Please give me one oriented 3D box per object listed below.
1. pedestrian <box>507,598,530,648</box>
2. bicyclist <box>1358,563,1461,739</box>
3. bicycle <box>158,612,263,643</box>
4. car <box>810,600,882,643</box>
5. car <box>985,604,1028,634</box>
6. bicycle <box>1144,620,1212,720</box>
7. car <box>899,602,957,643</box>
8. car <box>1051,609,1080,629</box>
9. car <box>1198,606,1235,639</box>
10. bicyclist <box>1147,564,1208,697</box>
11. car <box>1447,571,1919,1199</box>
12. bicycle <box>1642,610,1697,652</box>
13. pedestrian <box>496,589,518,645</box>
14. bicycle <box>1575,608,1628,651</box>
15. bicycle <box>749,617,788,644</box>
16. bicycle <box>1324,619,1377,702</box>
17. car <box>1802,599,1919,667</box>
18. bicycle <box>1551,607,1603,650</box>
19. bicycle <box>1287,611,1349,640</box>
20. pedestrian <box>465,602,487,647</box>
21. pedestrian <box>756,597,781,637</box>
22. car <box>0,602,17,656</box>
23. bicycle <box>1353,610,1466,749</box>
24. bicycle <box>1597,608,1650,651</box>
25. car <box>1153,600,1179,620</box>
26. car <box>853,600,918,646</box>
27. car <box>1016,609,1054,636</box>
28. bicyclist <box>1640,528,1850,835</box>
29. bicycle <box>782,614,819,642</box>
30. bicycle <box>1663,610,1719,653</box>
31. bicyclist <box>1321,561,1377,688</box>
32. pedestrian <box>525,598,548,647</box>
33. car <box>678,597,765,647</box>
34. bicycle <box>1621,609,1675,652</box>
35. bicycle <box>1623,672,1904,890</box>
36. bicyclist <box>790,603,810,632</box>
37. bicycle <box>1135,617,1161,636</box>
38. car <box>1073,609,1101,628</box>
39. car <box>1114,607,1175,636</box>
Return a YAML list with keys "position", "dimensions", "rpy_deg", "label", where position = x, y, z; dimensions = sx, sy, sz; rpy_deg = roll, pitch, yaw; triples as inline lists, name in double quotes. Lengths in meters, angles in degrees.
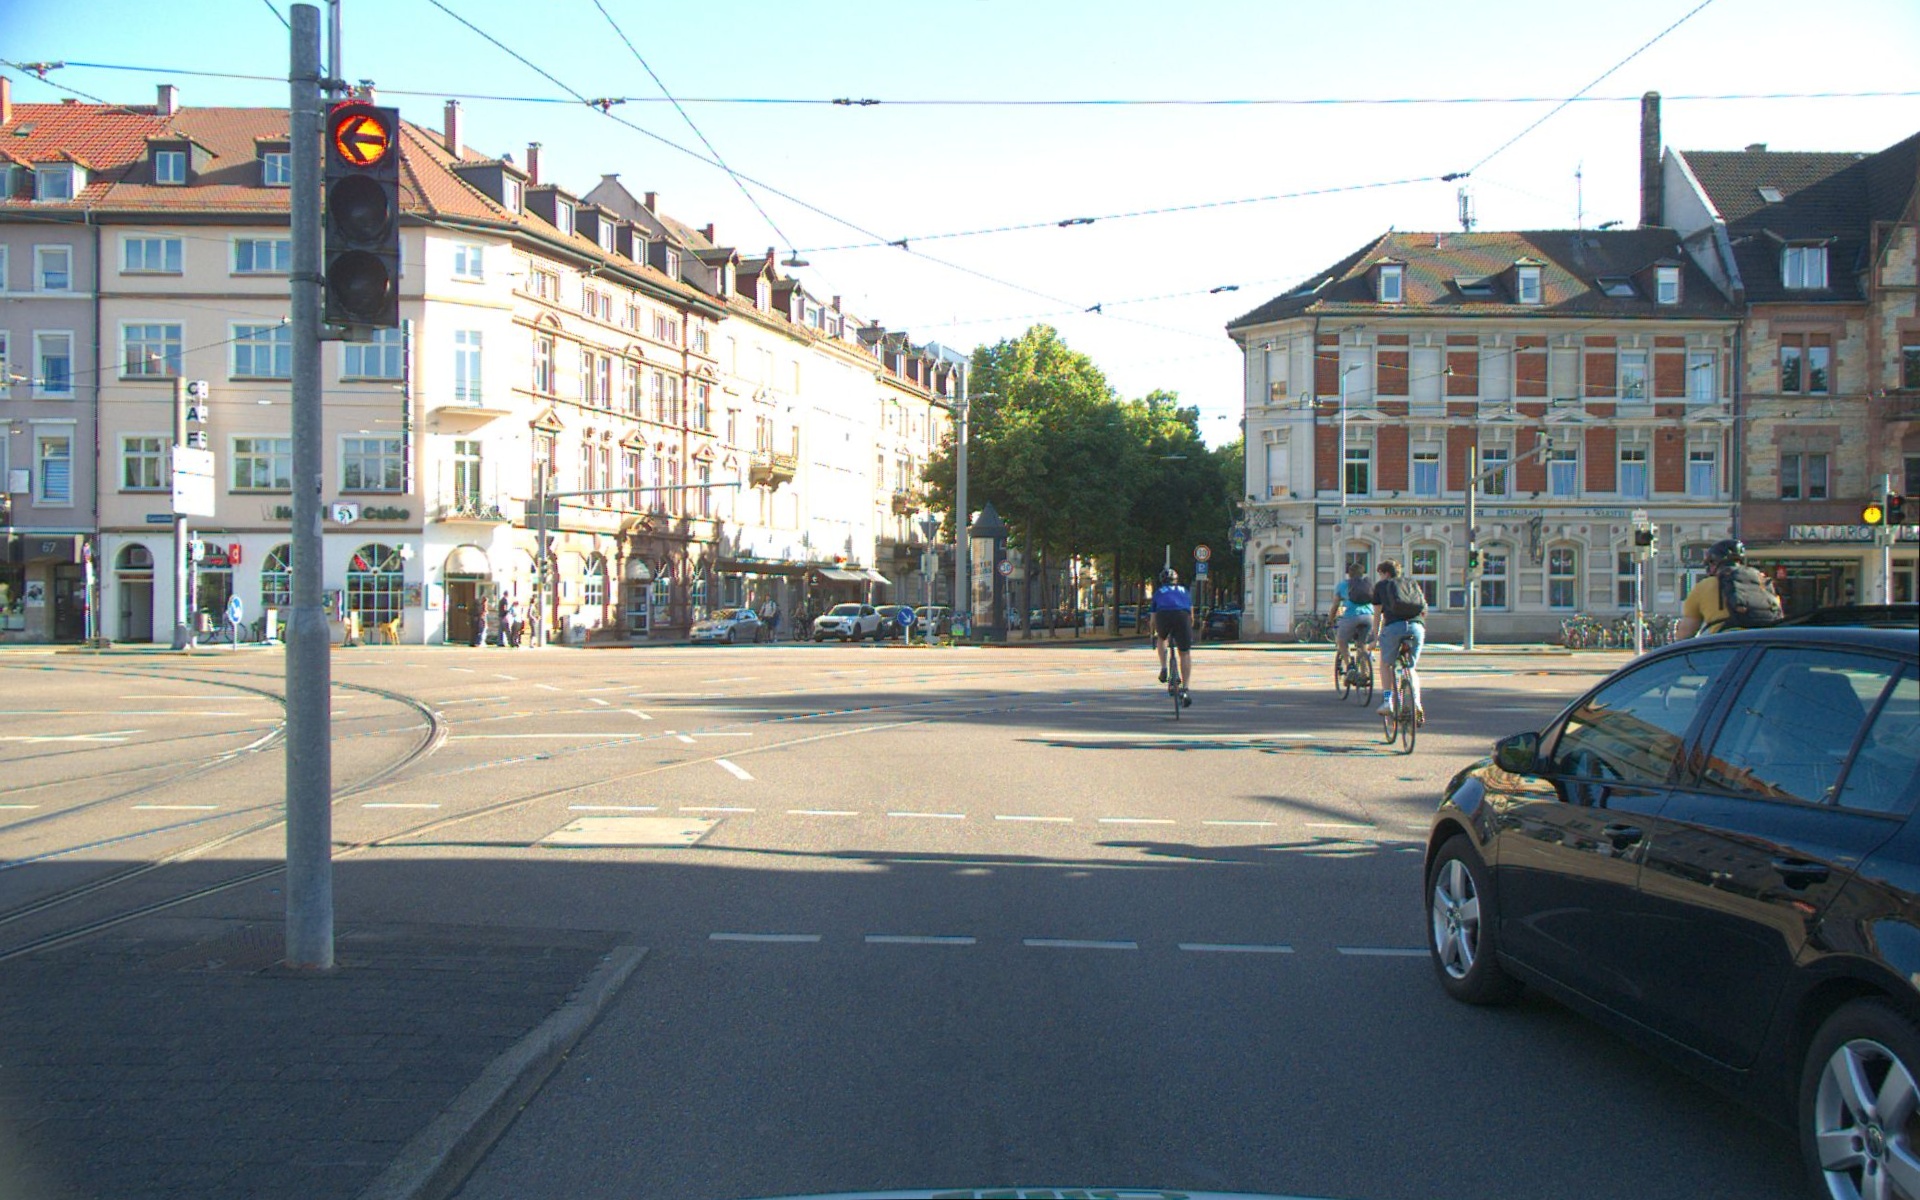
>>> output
- position: [-14.861, 0.769, 55.673]
  dimensions: [0.620, 1.662, 0.700]
  rpy_deg: [1, -1, -4]
  label: "pedestrian"
- position: [4.323, 0.477, 15.961]
  dimensions: [0.789, 1.634, 0.884]
  rpy_deg: [1, -1, 5]
  label: "bicyclist"
- position: [-25.518, 0.943, 56.352]
  dimensions: [3.066, 0.997, 1.001]
  rpy_deg: [1, 0, -1]
  label: "bicycle"
- position: [-4.608, 0.863, 67.300]
  dimensions: [1.951, 1.646, 4.003]
  rpy_deg: [1, 0, 11]
  label: "car"
- position: [3.176, 1.290, 112.739]
  dimensions: [1.951, 1.937, 4.002]
  rpy_deg: [1, 0, 16]
  label: "car"
- position: [2.542, 0.797, 19.394]
  dimensions: [0.613, 1.104, 1.703]
  rpy_deg: [1, 0, 2]
  label: "bicycle"
- position: [-1.516, 1.070, 79.766]
  dimensions: [1.951, 1.937, 4.003]
  rpy_deg: [1, 0, 11]
  label: "car"
- position: [8.421, 1.484, 131.970]
  dimensions: [1.526, 1.540, 3.658]
  rpy_deg: [1, 0, 16]
  label: "car"
- position: [12.866, 1.126, 82.779]
  dimensions: [1.655, 1.592, 3.844]
  rpy_deg: [1, 0, 11]
  label: "car"
- position: [2.547, 0.341, 19.470]
  dimensions: [0.625, 1.520, 0.884]
  rpy_deg: [1, 1, 3]
  label: "bicyclist"
- position: [2.915, 0.722, 4.868]
  dimensions: [1.693, 1.534, 4.050]
  rpy_deg: [1, 2, -1]
  label: "car"
- position: [22.798, 0.977, 53.180]
  dimensions: [0.615, 1.309, 2.661]
  rpy_deg: [1, 0, 0]
  label: "bicycle"
- position: [-15.655, 0.588, 57.129]
  dimensions: [0.620, 1.914, 0.465]
  rpy_deg: [1, -1, -5]
  label: "pedestrian"
- position: [20.595, 0.928, 53.131]
  dimensions: [0.678, 1.309, 2.661]
  rpy_deg: [1, 0, 0]
  label: "bicycle"
- position: [-7.531, 1.207, 65.161]
  dimensions: [0.746, 1.025, 2.398]
  rpy_deg: [1, 0, 13]
  label: "bicycle"
- position: [5.227, 0.793, 22.202]
  dimensions: [0.635, 1.049, 1.772]
  rpy_deg: [1, 0, 12]
  label: "bicycle"
- position: [25.816, 0.920, 46.049]
  dimensions: [3.706, 1.809, 1.999]
  rpy_deg: [1, 0, -2]
  label: "car"
- position: [19.792, 0.901, 53.147]
  dimensions: [0.678, 1.309, 2.661]
  rpy_deg: [1, 0, 0]
  label: "bicycle"
- position: [12.393, 0.883, 57.274]
  dimensions: [2.006, 1.015, 0.631]
  rpy_deg: [0, -1, 2]
  label: "bicycle"
- position: [-16.376, 0.837, 55.958]
  dimensions: [0.620, 1.502, 0.465]
  rpy_deg: [1, -1, -5]
  label: "pedestrian"
- position: [-7.543, 0.668, 65.089]
  dimensions: [0.803, 1.539, 0.598]
  rpy_deg: [1, -1, 14]
  label: "pedestrian"
- position: [-32.387, 0.915, 52.430]
  dimensions: [3.902, 1.699, 2.002]
  rpy_deg: [0, 0, 8]
  label: "car"
- position: [4.325, 0.736, 16.019]
  dimensions: [0.739, 1.258, 1.704]
  rpy_deg: [1, 0, 5]
  label: "bicycle"
- position: [21.306, 0.930, 53.153]
  dimensions: [0.615, 1.309, 2.661]
  rpy_deg: [1, 0, 0]
  label: "bicycle"
- position: [16.790, 0.837, 134.873]
  dimensions: [1.526, 1.540, 3.658]
  rpy_deg: [1, 0, 16]
  label: "car"
- position: [-3.283, 1.014, 73.719]
  dimensions: [1.951, 1.937, 4.003]
  rpy_deg: [1, 0, 11]
  label: "car"
- position: [5.578, 1.676, 122.749]
  dimensions: [1.951, 1.937, 4.002]
  rpy_deg: [1, 0, 16]
  label: "car"
- position: [4.540, 0.452, 9.623]
  dimensions: [0.789, 1.692, 0.883]
  rpy_deg: [1, -1, -1]
  label: "bicyclist"
- position: [-6.771, 1.179, 70.379]
  dimensions: [0.637, 1.142, 2.253]
  rpy_deg: [1, 0, 20]
  label: "bicycle"
- position: [23.482, 0.995, 53.178]
  dimensions: [0.615, 1.309, 2.661]
  rpy_deg: [1, 0, 0]
  label: "bicycle"
- position: [5.198, 0.323, 22.122]
  dimensions: [0.675, 1.662, 0.884]
  rpy_deg: [1, -1, 11]
  label: "bicyclist"
- position: [-14.606, 0.777, 57.025]
  dimensions: [0.620, 1.662, 0.700]
  rpy_deg: [1, -1, -4]
  label: "pedestrian"
- position: [-9.624, 0.876, 67.002]
  dimensions: [1.951, 1.937, 4.002]
  rpy_deg: [1, 0, 17]
  label: "car"
- position: [22.083, 0.961, 53.155]
  dimensions: [0.615, 1.309, 2.661]
  rpy_deg: [1, 0, 0]
  label: "bicycle"
- position: [4.520, 0.975, 9.458]
  dimensions: [0.739, 1.049, 1.780]
  rpy_deg: [1, 0, 0]
  label: "bicycle"
- position: [-6.788, 0.745, 70.259]
  dimensions: [0.618, 1.205, 0.685]
  rpy_deg: [1, -1, 20]
  label: "bicyclist"
- position: [11.278, 1.573, 99.227]
  dimensions: [0.619, 1.104, 1.685]
  rpy_deg: [1, 0, -31]
  label: "bicycle"
- position: [10.473, 1.530, 135.969]
  dimensions: [1.526, 1.540, 3.658]
  rpy_deg: [1, 0, 16]
  label: "car"
- position: [12.847, 1.466, 115.155]
  dimensions: [3.902, 1.937, 2.001]
  rpy_deg: [1, 0, 15]
  label: "car"
